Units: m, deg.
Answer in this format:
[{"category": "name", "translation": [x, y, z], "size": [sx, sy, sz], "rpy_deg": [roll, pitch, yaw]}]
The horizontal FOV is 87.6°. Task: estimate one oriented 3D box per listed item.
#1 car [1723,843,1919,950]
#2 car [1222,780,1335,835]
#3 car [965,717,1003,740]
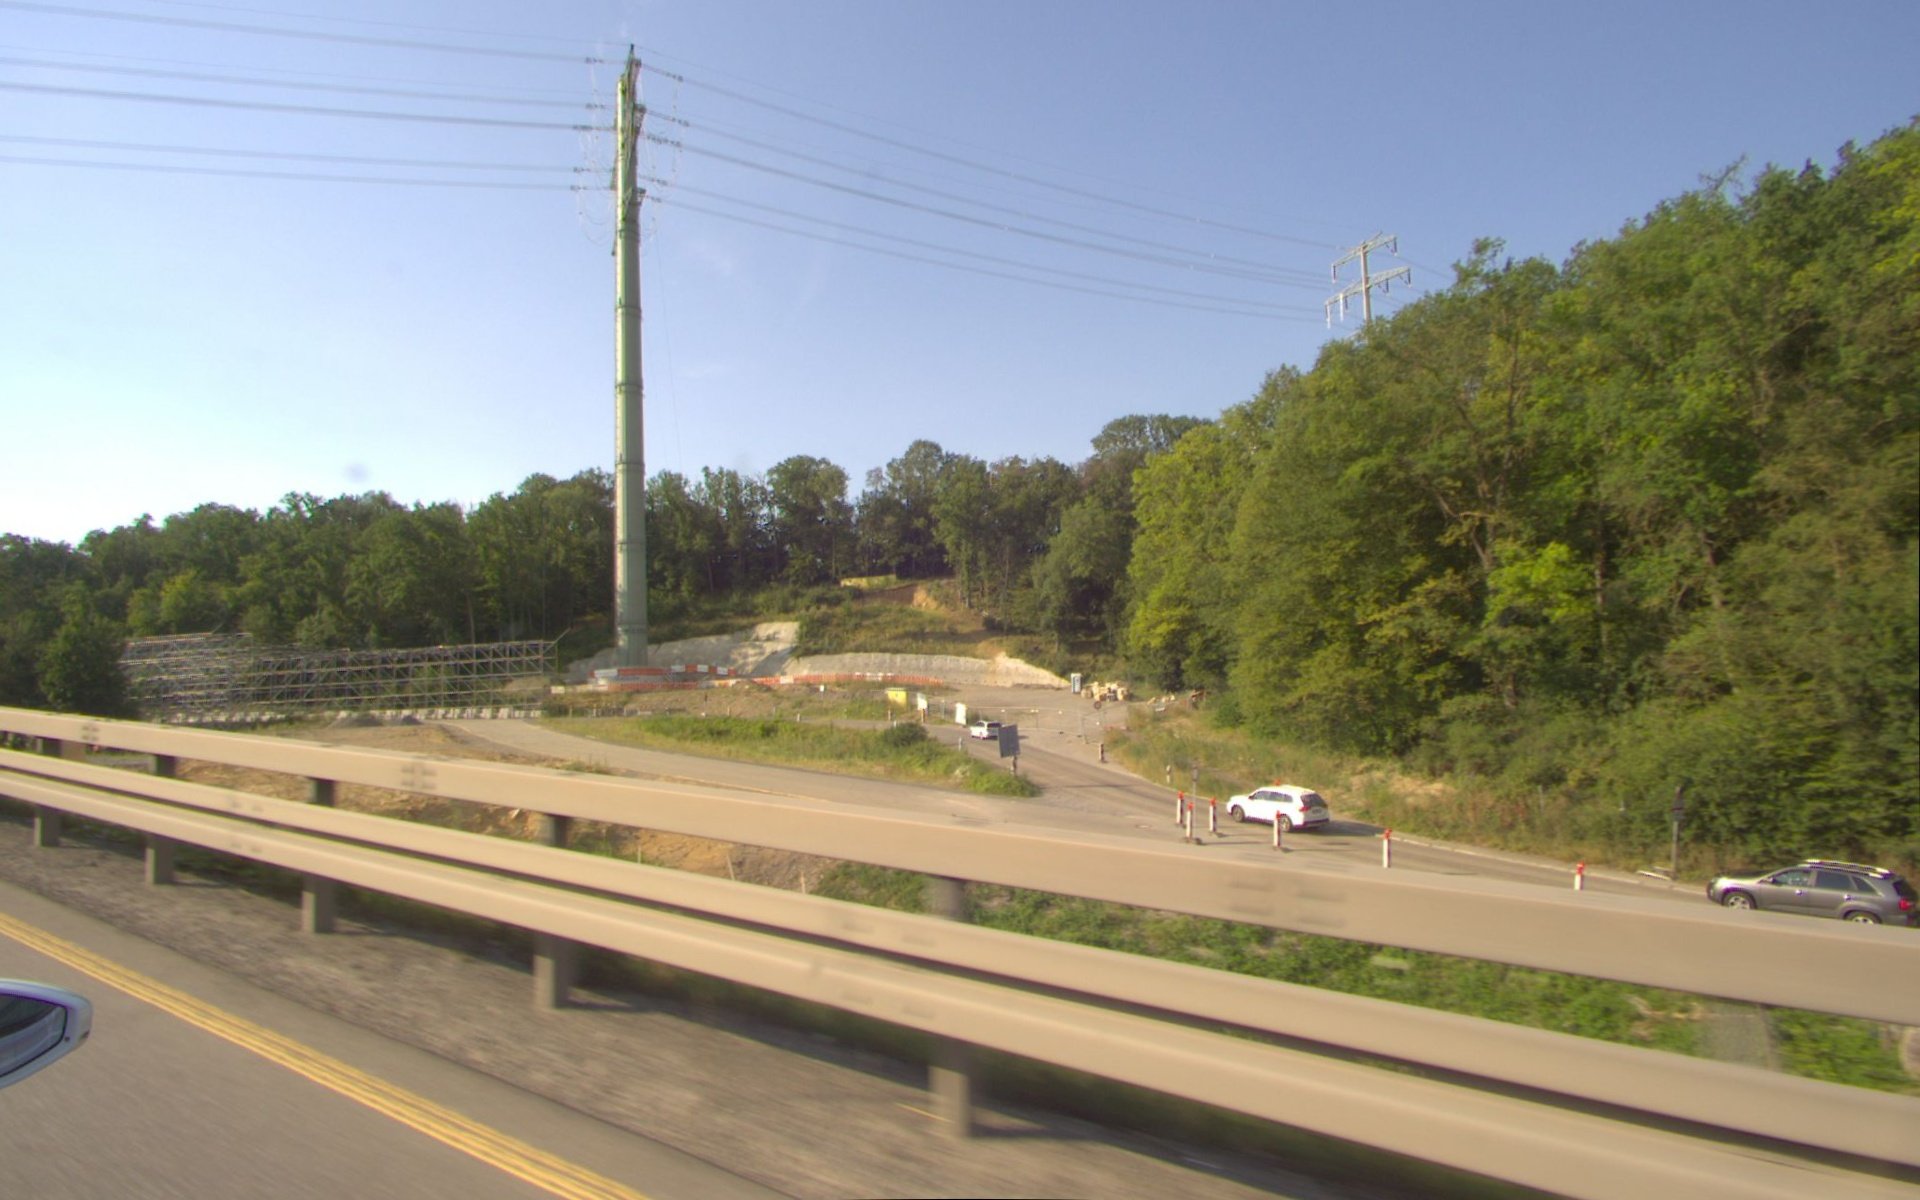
[{"category": "car", "translation": [23.894, 8.052, 27.453], "size": [1.848, 1.807, 4.461], "rpy_deg": [1, -2, -40]}, {"category": "car", "translation": [13.286, 8.653, 42.002], "size": [1.653, 1.681, 4.443], "rpy_deg": [3, -5, -35]}, {"category": "car", "translation": [1.917, 10.473, 81.863], "size": [1.506, 1.479, 4.256], "rpy_deg": [-1, -2, -23]}]
